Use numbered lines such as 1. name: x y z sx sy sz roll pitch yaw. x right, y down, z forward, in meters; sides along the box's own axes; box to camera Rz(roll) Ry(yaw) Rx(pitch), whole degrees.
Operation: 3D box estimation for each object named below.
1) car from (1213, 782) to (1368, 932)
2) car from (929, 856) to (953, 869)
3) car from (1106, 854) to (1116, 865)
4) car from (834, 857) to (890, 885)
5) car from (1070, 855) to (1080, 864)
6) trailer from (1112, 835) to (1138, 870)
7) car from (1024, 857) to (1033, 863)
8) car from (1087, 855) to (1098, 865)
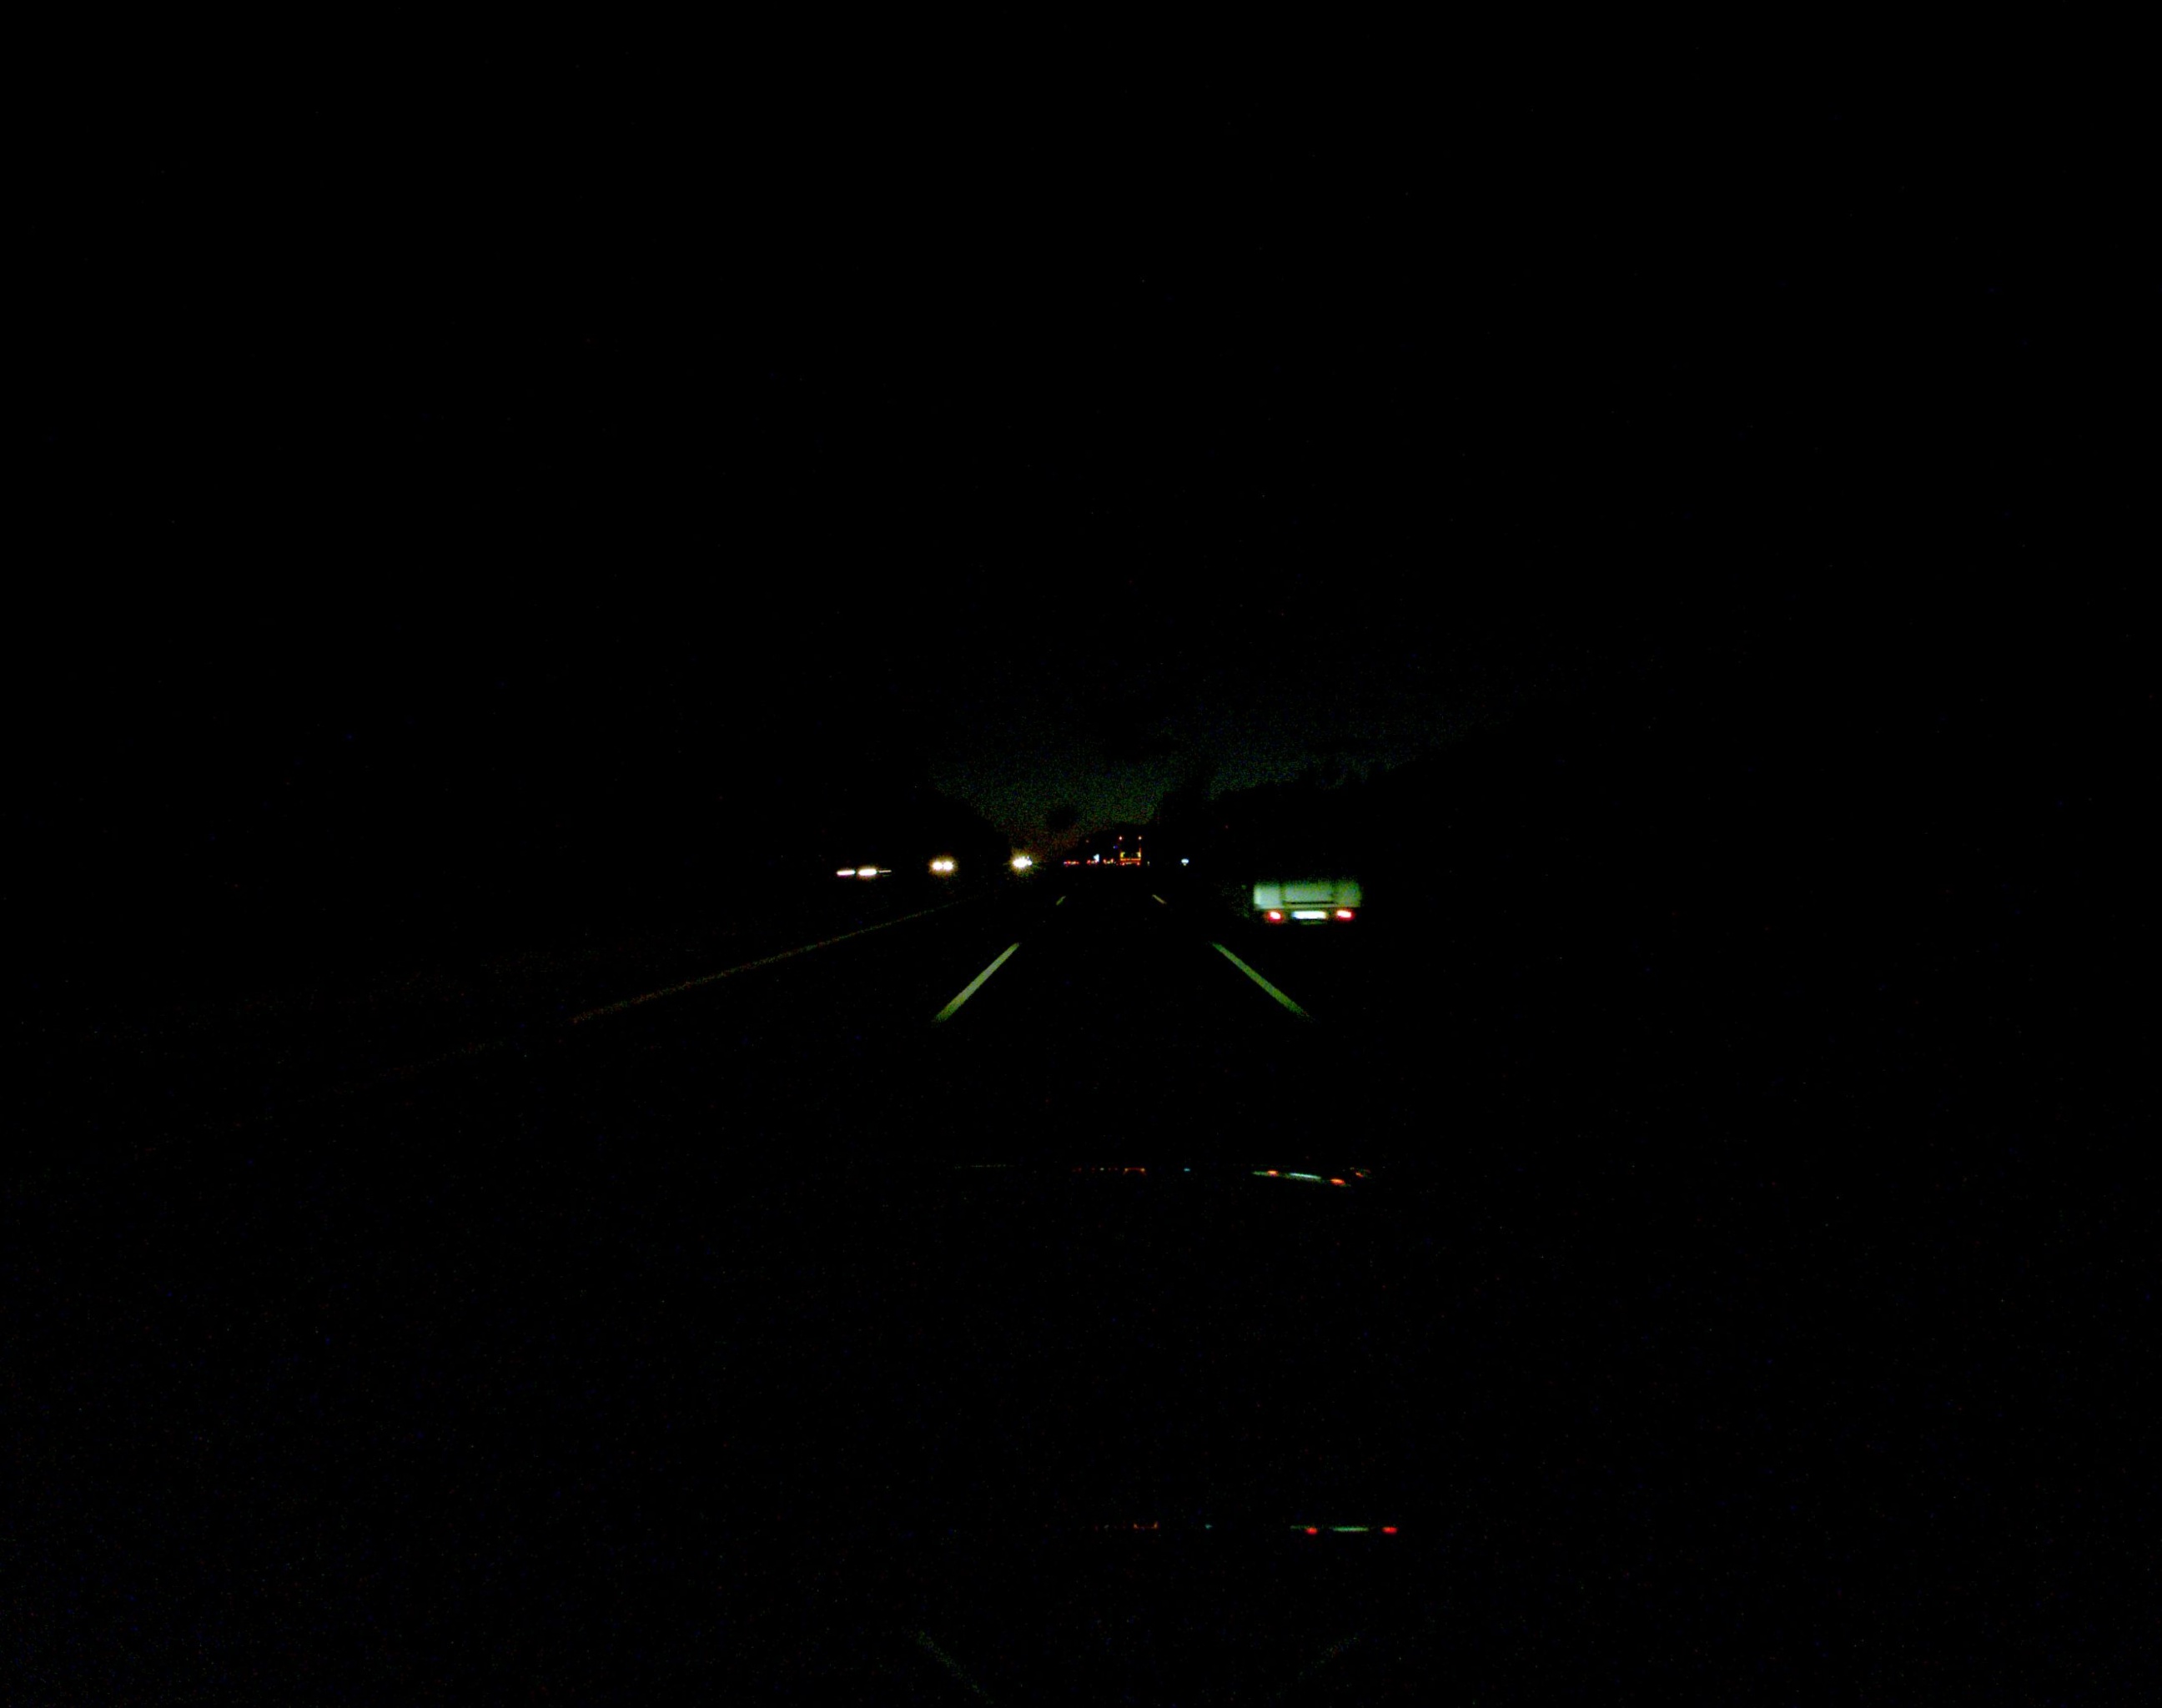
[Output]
1. car: 4.177 0.067 17.297 2.024 2.647 5.728 -1 0 2
2. car: -17.738 1.043 103.288 2.237 1.668 4.887 -1 0 0
3. car: 6.446 1.231 175.213 1.986 2.117 4.000 -1 -2 1
4. car: -14.065 1.046 52.698 2.237 1.668 4.889 -1 0 0
5. car: -1.249 1.196 173.981 1.988 1.794 3.997 -1 -2 -1
6. trailer: 5.815 -0.014 109.605 2.819 4.257 17.049 -1 -2 1
7. car: -14.349 1.690 223.482 2.238 1.598 4.885 -1 0 -1
8. car: 2.138 1.178 155.866 1.988 1.794 3.998 -1 -2 -1
